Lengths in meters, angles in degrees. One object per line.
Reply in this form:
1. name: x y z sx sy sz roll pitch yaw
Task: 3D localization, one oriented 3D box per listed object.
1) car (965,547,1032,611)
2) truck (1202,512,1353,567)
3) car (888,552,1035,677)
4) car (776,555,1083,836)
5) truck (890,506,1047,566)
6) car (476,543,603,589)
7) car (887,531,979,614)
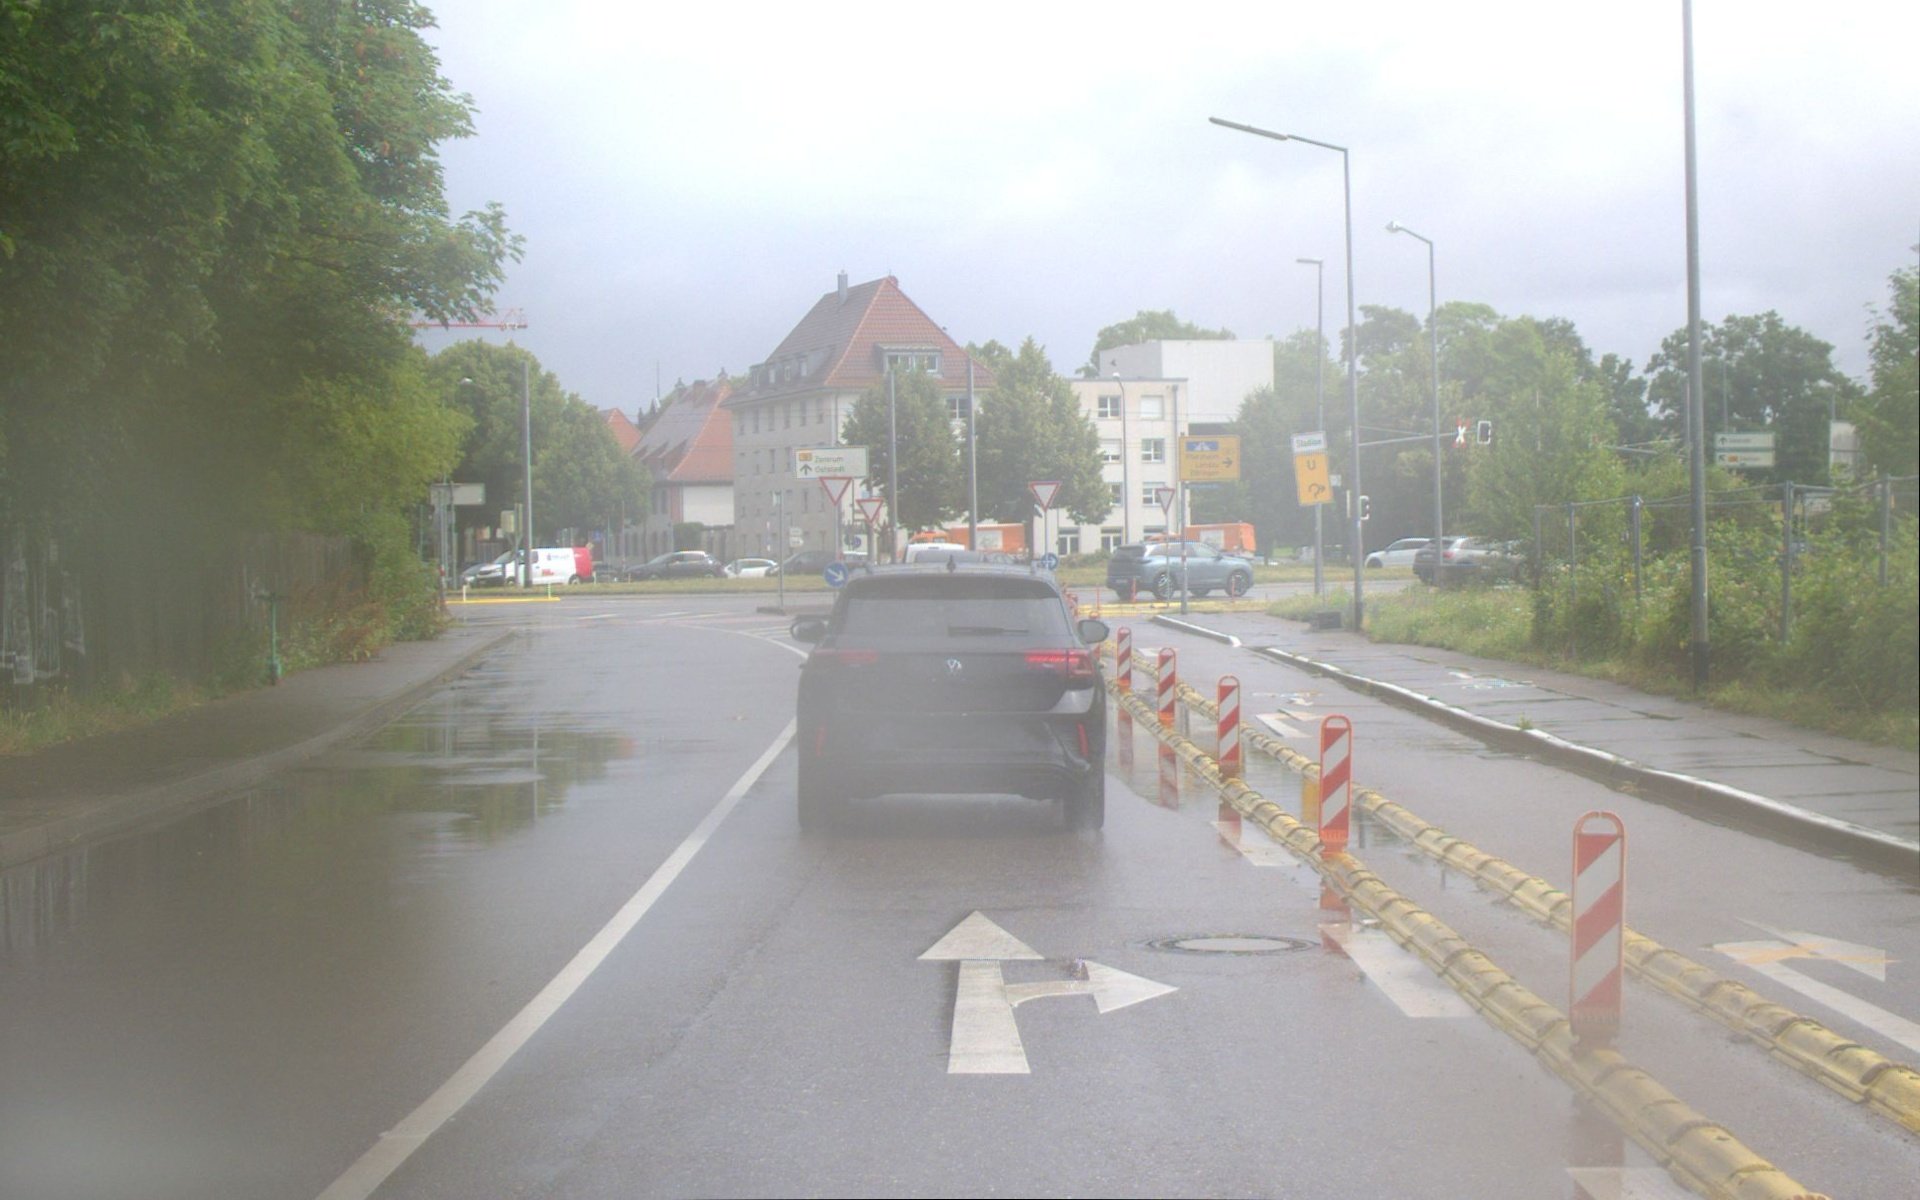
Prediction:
1. car: 1.014 -0.587 91.866 1.665 1.639 3.955 -1 1 -1
2. truck: 14.913 -2.826 161.405 6.707 2.434 2.432 -1 1 16
3. car: -0.019 0.154 44.047 1.735 1.509 3.604 -1 1 -2
4. car: -0.265 0.514 21.050 1.708 1.568 3.683 0 1 -3
5. truck: 0.423 -2.924 156.312 7.066 2.641 2.330 -1 1 2
6. car: -18.146 -1.471 148.573 5.116 1.870 1.894 -2 1 -34
7. car: -0.633 -0.651 77.774 1.864 1.803 4.404 -1 1 -3
